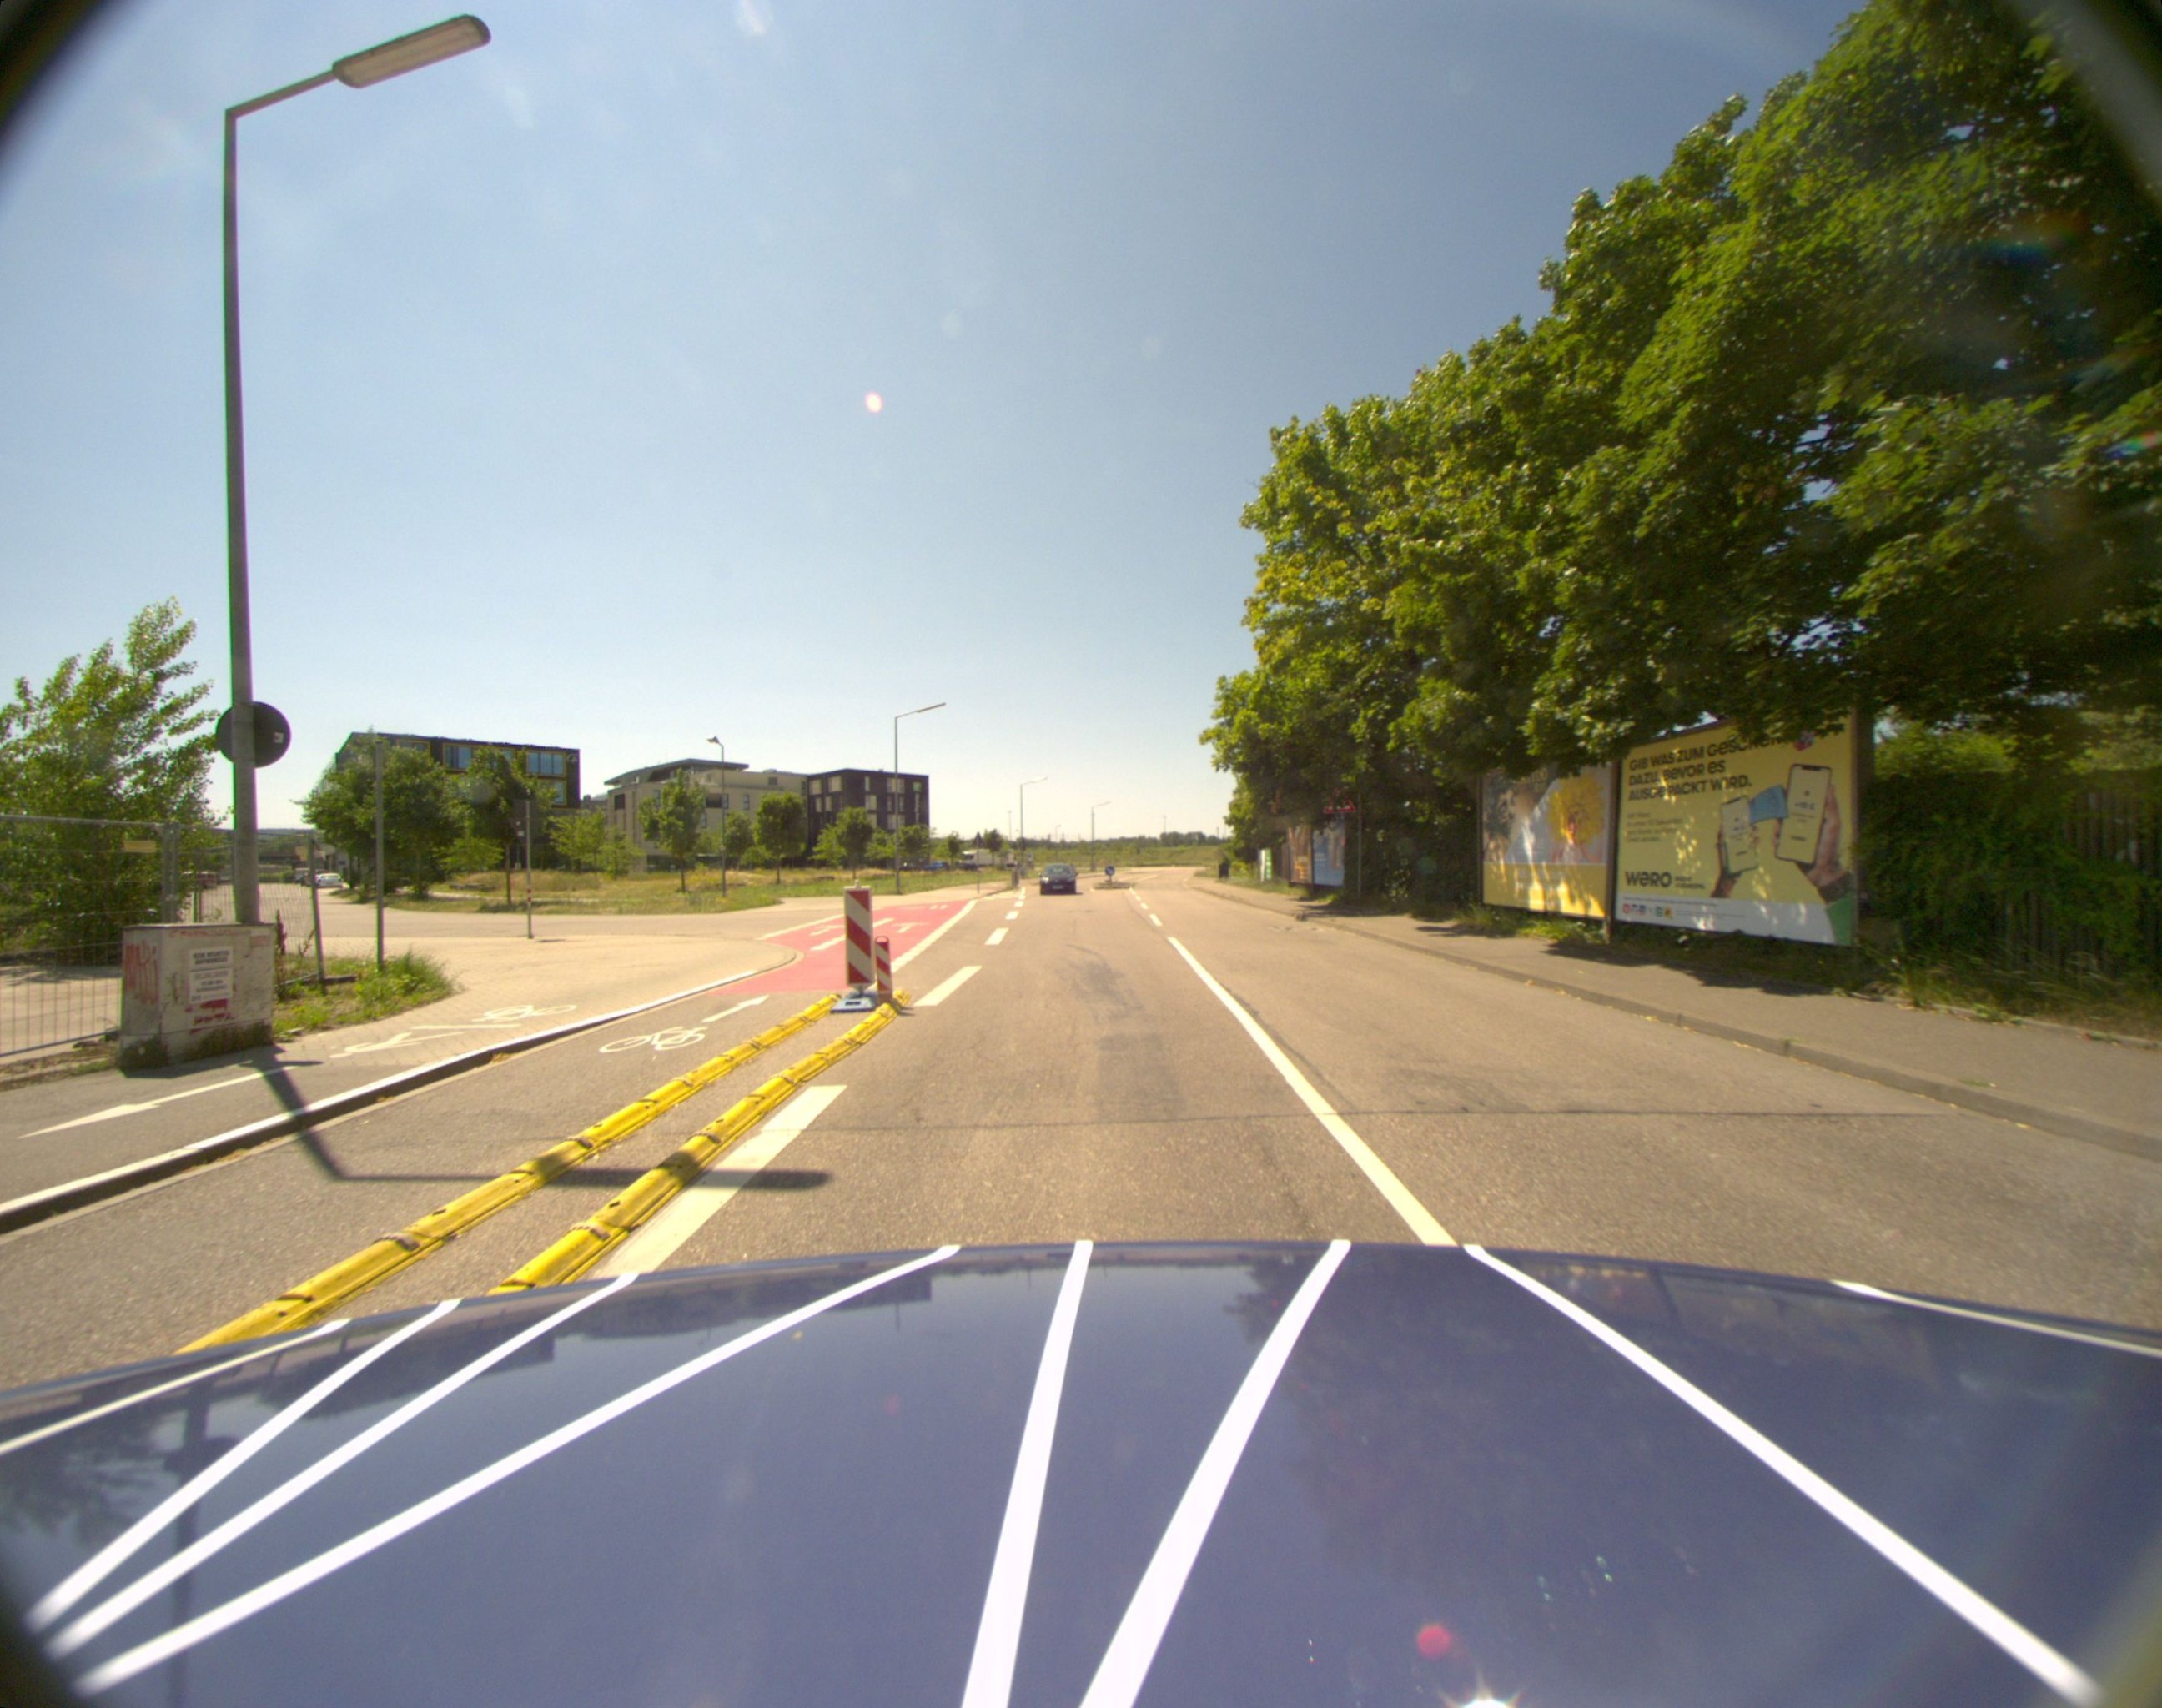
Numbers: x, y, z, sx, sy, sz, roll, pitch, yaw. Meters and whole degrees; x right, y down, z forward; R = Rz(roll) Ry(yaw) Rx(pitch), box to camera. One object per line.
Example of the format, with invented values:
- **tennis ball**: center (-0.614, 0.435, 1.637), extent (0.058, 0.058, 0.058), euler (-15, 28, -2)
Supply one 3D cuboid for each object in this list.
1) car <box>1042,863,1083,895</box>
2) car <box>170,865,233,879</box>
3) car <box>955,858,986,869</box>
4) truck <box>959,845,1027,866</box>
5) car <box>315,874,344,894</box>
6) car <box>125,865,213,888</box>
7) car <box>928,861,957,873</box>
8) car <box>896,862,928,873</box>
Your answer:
- **car**: center (-0.846, 1.144, 36.604), extent (1.653, 1.458, 4.161), euler (0, -1, 3)
- **car**: center (-98.892, 2.046, 85.483), extent (1.798, 1.501, 4.535), euler (0, 0, 40)
- **car**: center (-16.076, 1.354, 110.209), extent (4.495, 1.552, 2.036), euler (-1, 0, 41)
- **truck**: center (-14.699, 0.224, 128.131), extent (3.009, 3.442, 12.165), euler (2, 1, 44)
- **car**: center (-76.169, 2.995, 77.021), extent (3.483, 1.917, 1.964), euler (-2, -1, 44)
- **car**: center (-86.725, 2.117, 72.368), extent (2.230, 2.103, 5.171), euler (-1, 0, 44)
- **car**: center (-19.613, 1.823, 107.150), extent (4.059, 1.642, 1.959), euler (0, 0, 42)
- **car**: center (-23.028, 1.879, 103.499), extent (4.114, 1.436, 1.966), euler (0, 0, 37)
